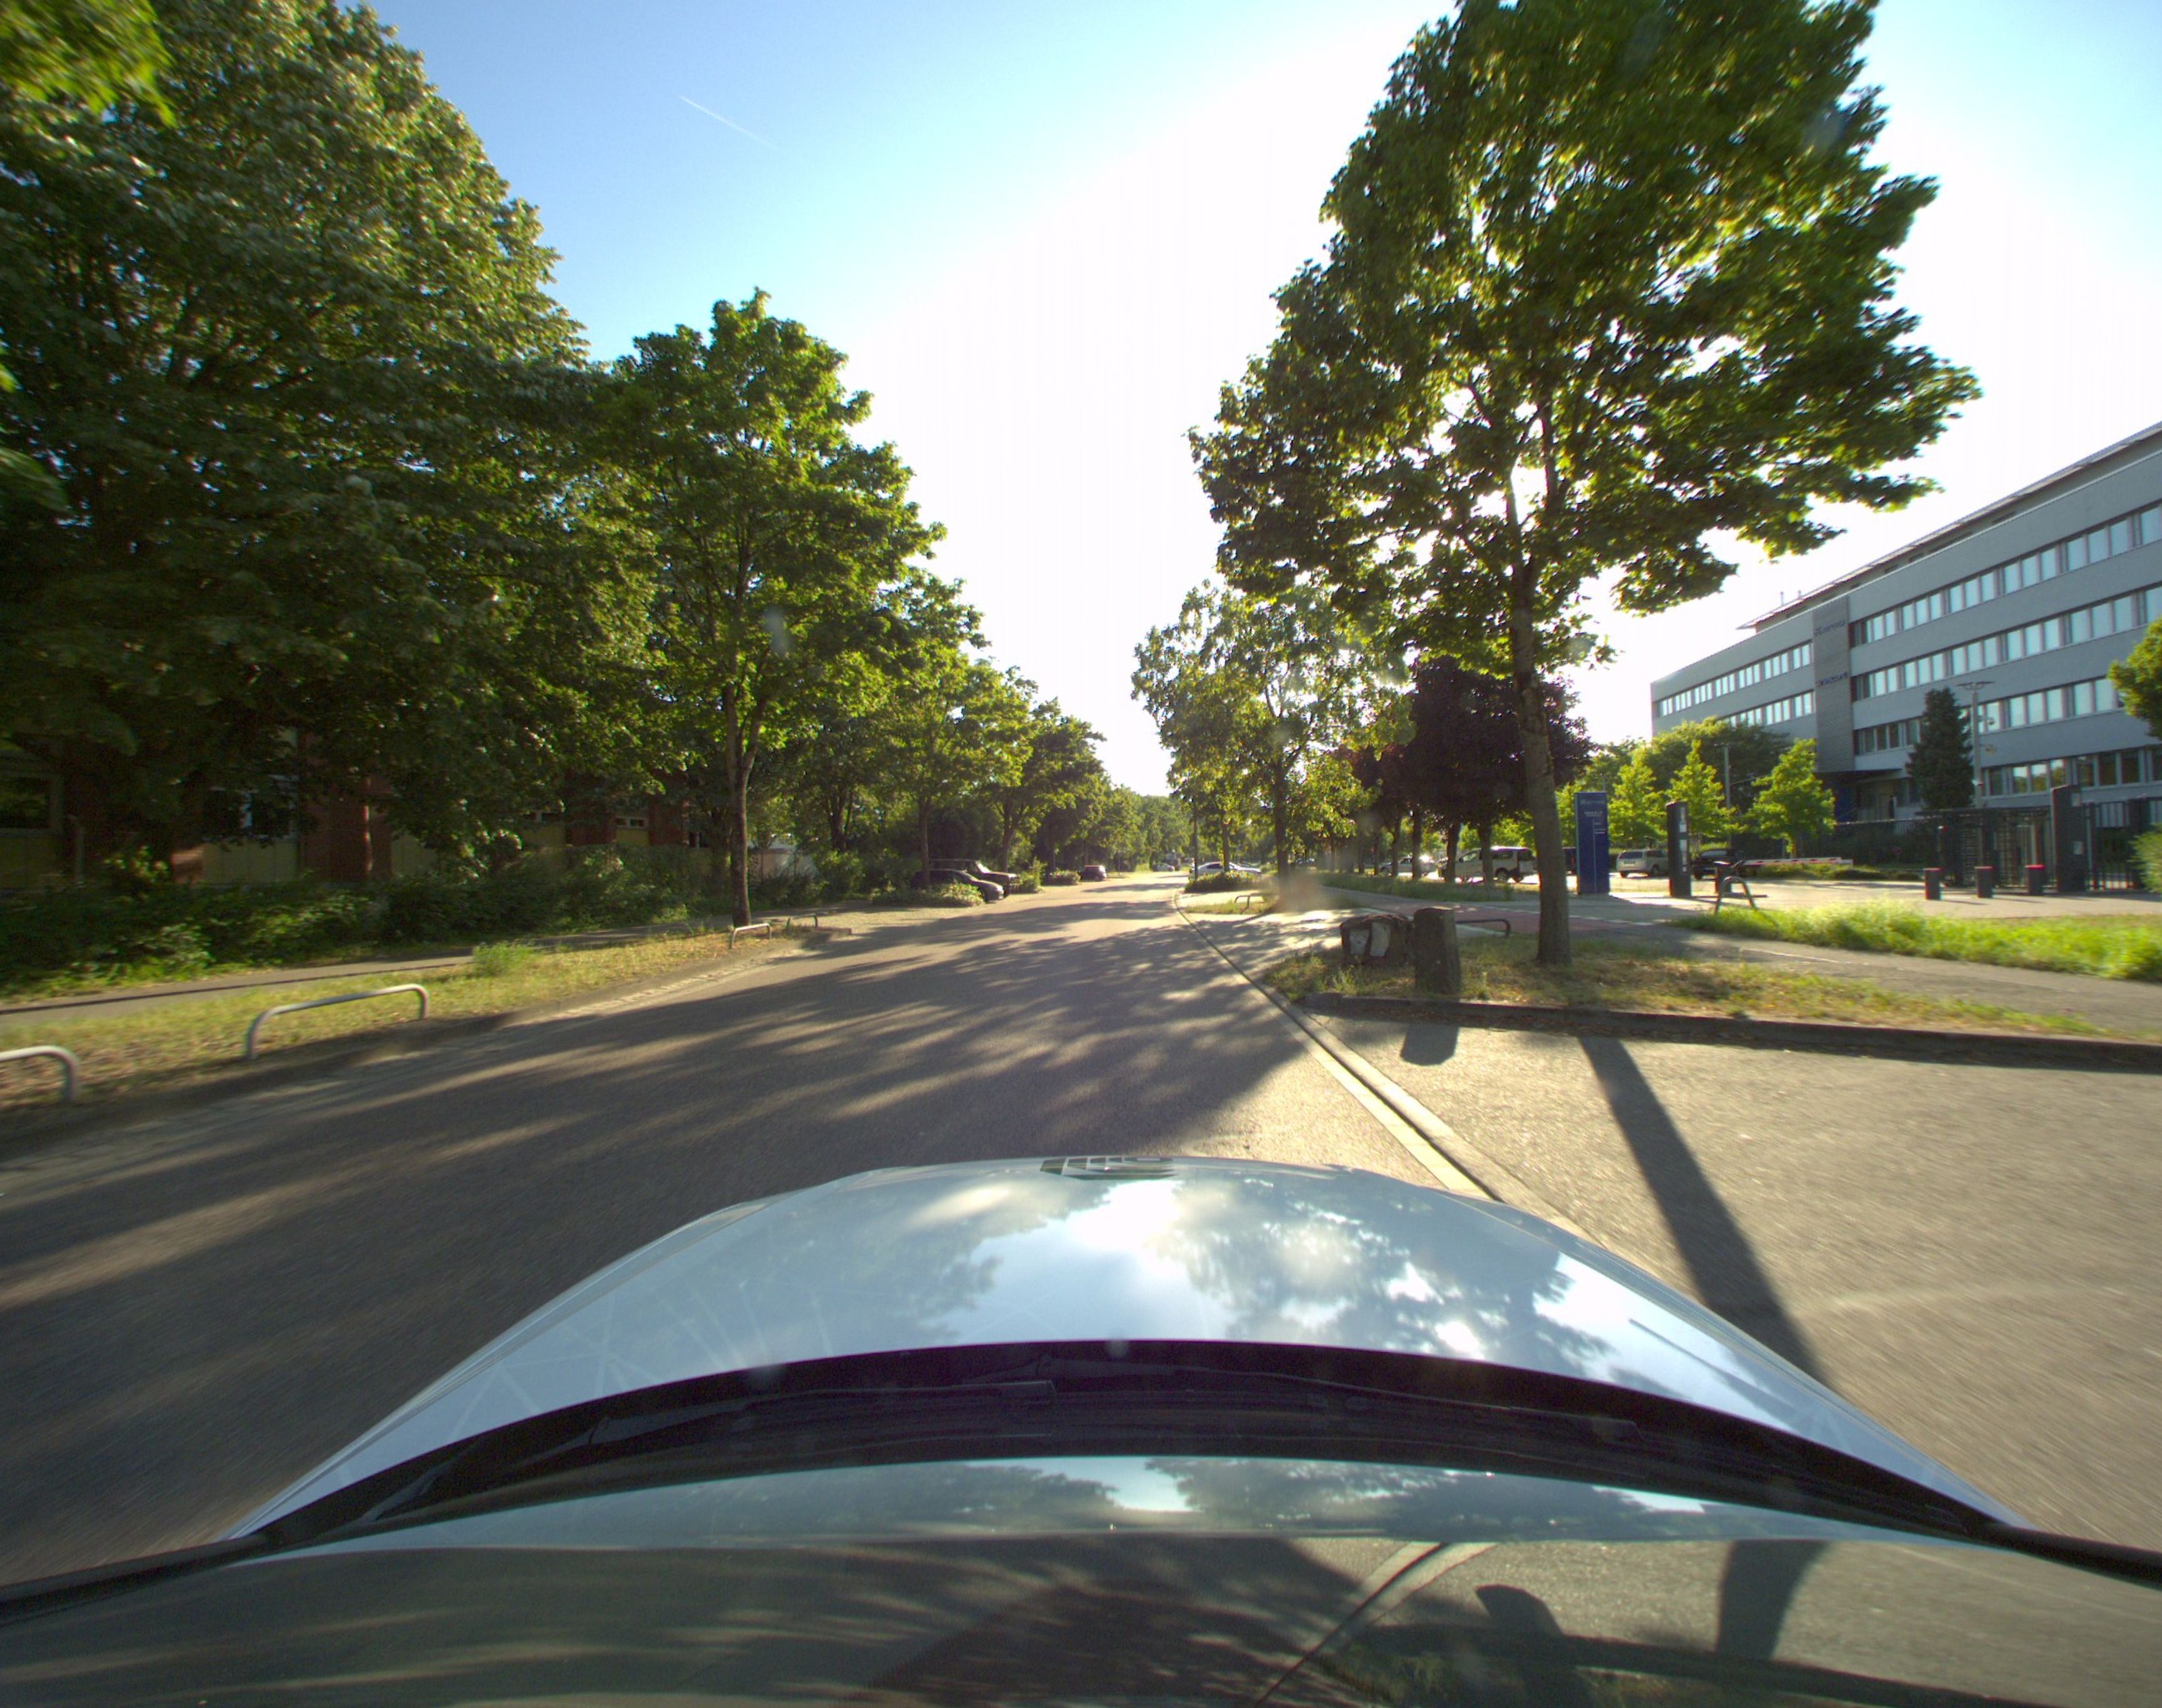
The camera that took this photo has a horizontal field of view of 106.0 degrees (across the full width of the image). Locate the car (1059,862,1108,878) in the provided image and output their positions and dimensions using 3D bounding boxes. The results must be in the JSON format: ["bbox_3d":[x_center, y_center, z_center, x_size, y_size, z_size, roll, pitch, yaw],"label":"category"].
[{"bbox_3d":[0.234,1.491,77.326,4.333,1.479,2.005,0,0,8],"label":"car"}]

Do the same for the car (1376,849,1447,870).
[{"bbox_3d":[26.550,0.444,65.549,2.011,1.574,4.894,-1,-1,-42],"label":"car"}]

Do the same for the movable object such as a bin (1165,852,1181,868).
[{"bbox_3d":[18.256,1.198,161.635,2.823,3.069,4.937,-2,-1,7],"label":"movable object such as a bin"}]

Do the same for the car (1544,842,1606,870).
[{"bbox_3d":[33.287,0.094,54.848,4.513,1.750,1.749,-2,0,-33],"label":"car"}]

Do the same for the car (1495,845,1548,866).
[{"bbox_3d":[35.634,0.125,65.899,4.317,1.527,1.750,-1,-1,-31],"label":"car"}]

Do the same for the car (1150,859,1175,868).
[{"bbox_3d":[14.983,1.776,149.625,4.329,1.547,2.007,-2,-1,12],"label":"car"}]

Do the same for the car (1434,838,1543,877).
[{"bbox_3d":[21.847,0.184,43.849,2.008,1.933,4.901,-1,0,-35],"label":"car"}]

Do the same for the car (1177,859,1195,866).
[{"bbox_3d":[25.980,2.132,201.571,4.337,1.479,2.003,-2,-1,5],"label":"car"}]

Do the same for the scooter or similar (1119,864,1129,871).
[{"bbox_3d":[7.164,2.221,136.036,1.592,1.145,0.570,-1,-1,-39],"label":"scooter or similar"}]

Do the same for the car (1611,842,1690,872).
[{"bbox_3d":[31.339,0.148,44.801,4.324,1.529,1.790,-1,-1,-29],"label":"car"}]

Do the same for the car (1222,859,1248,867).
[{"bbox_3d":[29.635,1.762,156.270,4.808,1.479,2.007,-2,-1,12],"label":"car"}]

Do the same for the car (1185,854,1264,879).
[{"bbox_3d":[9.699,0.848,55.314,5.149,1.574,2.161,-2,-1,6],"label":"car"}]

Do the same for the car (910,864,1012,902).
[{"bbox_3d":[-5.361,1.287,36.644,4.192,1.530,1.708,-2,-1,4],"label":"car"}]

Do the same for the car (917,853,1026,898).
[{"bbox_3d":[-5.425,1.056,40.709,4.981,2.020,2.177,-2,-1,4],"label":"car"}]

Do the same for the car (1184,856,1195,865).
[{"bbox_3d":[28.118,1.709,210.702,2.504,2.386,4.379,-2,-1,5],"label":"car"}]

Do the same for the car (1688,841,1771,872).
[{"bbox_3d":[30.434,0.120,38.199,4.014,1.354,1.788,-1,-1,-32],"label":"car"}]
